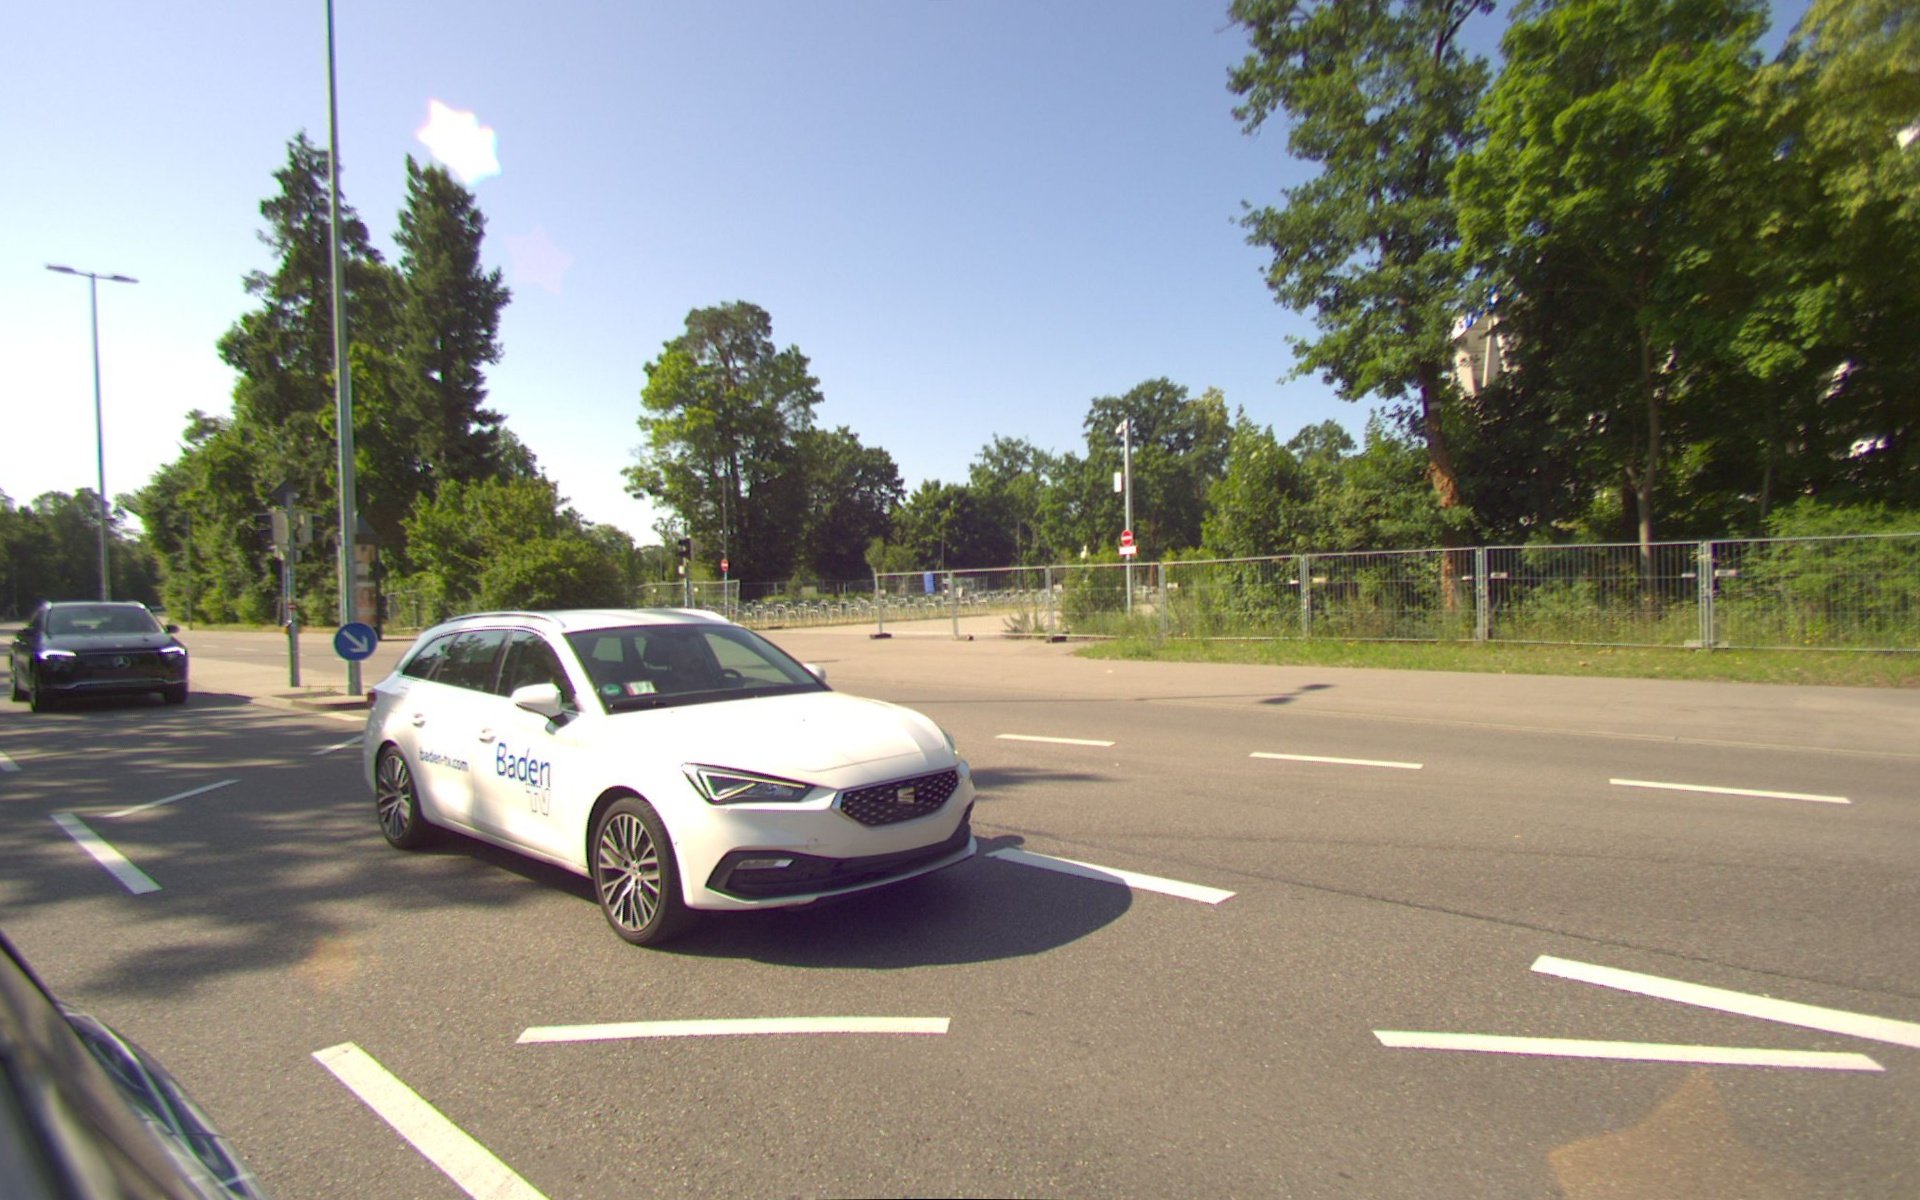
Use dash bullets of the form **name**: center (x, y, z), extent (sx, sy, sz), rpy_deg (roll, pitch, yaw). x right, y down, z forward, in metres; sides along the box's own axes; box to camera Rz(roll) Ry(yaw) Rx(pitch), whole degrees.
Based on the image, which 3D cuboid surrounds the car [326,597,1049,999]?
- **car**: center (-1.899, 0.742, 5.837), extent (4.717, 1.437, 1.707), rpy_deg (-1, -1, 41)

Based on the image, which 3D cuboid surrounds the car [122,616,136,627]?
- **car**: center (-151.182, 3.846, 184.145), extent (1.848, 1.874, 4.008), rpy_deg (-2, 0, -37)

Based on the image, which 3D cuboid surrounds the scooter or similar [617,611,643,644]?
- **scooter or similar**: center (-12.069, 0.996, 37.000), extent (0.390, 1.154, 1.198), rpy_deg (-2, 0, -42)

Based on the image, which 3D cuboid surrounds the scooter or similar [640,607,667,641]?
- **scooter or similar**: center (-11.403, 0.891, 37.675), extent (0.393, 1.231, 1.075), rpy_deg (-1, 0, 18)

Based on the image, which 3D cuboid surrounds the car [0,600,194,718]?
- **car**: center (-13.728, 0.818, 15.965), extent (4.271, 1.608, 1.786), rpy_deg (0, 0, 41)
